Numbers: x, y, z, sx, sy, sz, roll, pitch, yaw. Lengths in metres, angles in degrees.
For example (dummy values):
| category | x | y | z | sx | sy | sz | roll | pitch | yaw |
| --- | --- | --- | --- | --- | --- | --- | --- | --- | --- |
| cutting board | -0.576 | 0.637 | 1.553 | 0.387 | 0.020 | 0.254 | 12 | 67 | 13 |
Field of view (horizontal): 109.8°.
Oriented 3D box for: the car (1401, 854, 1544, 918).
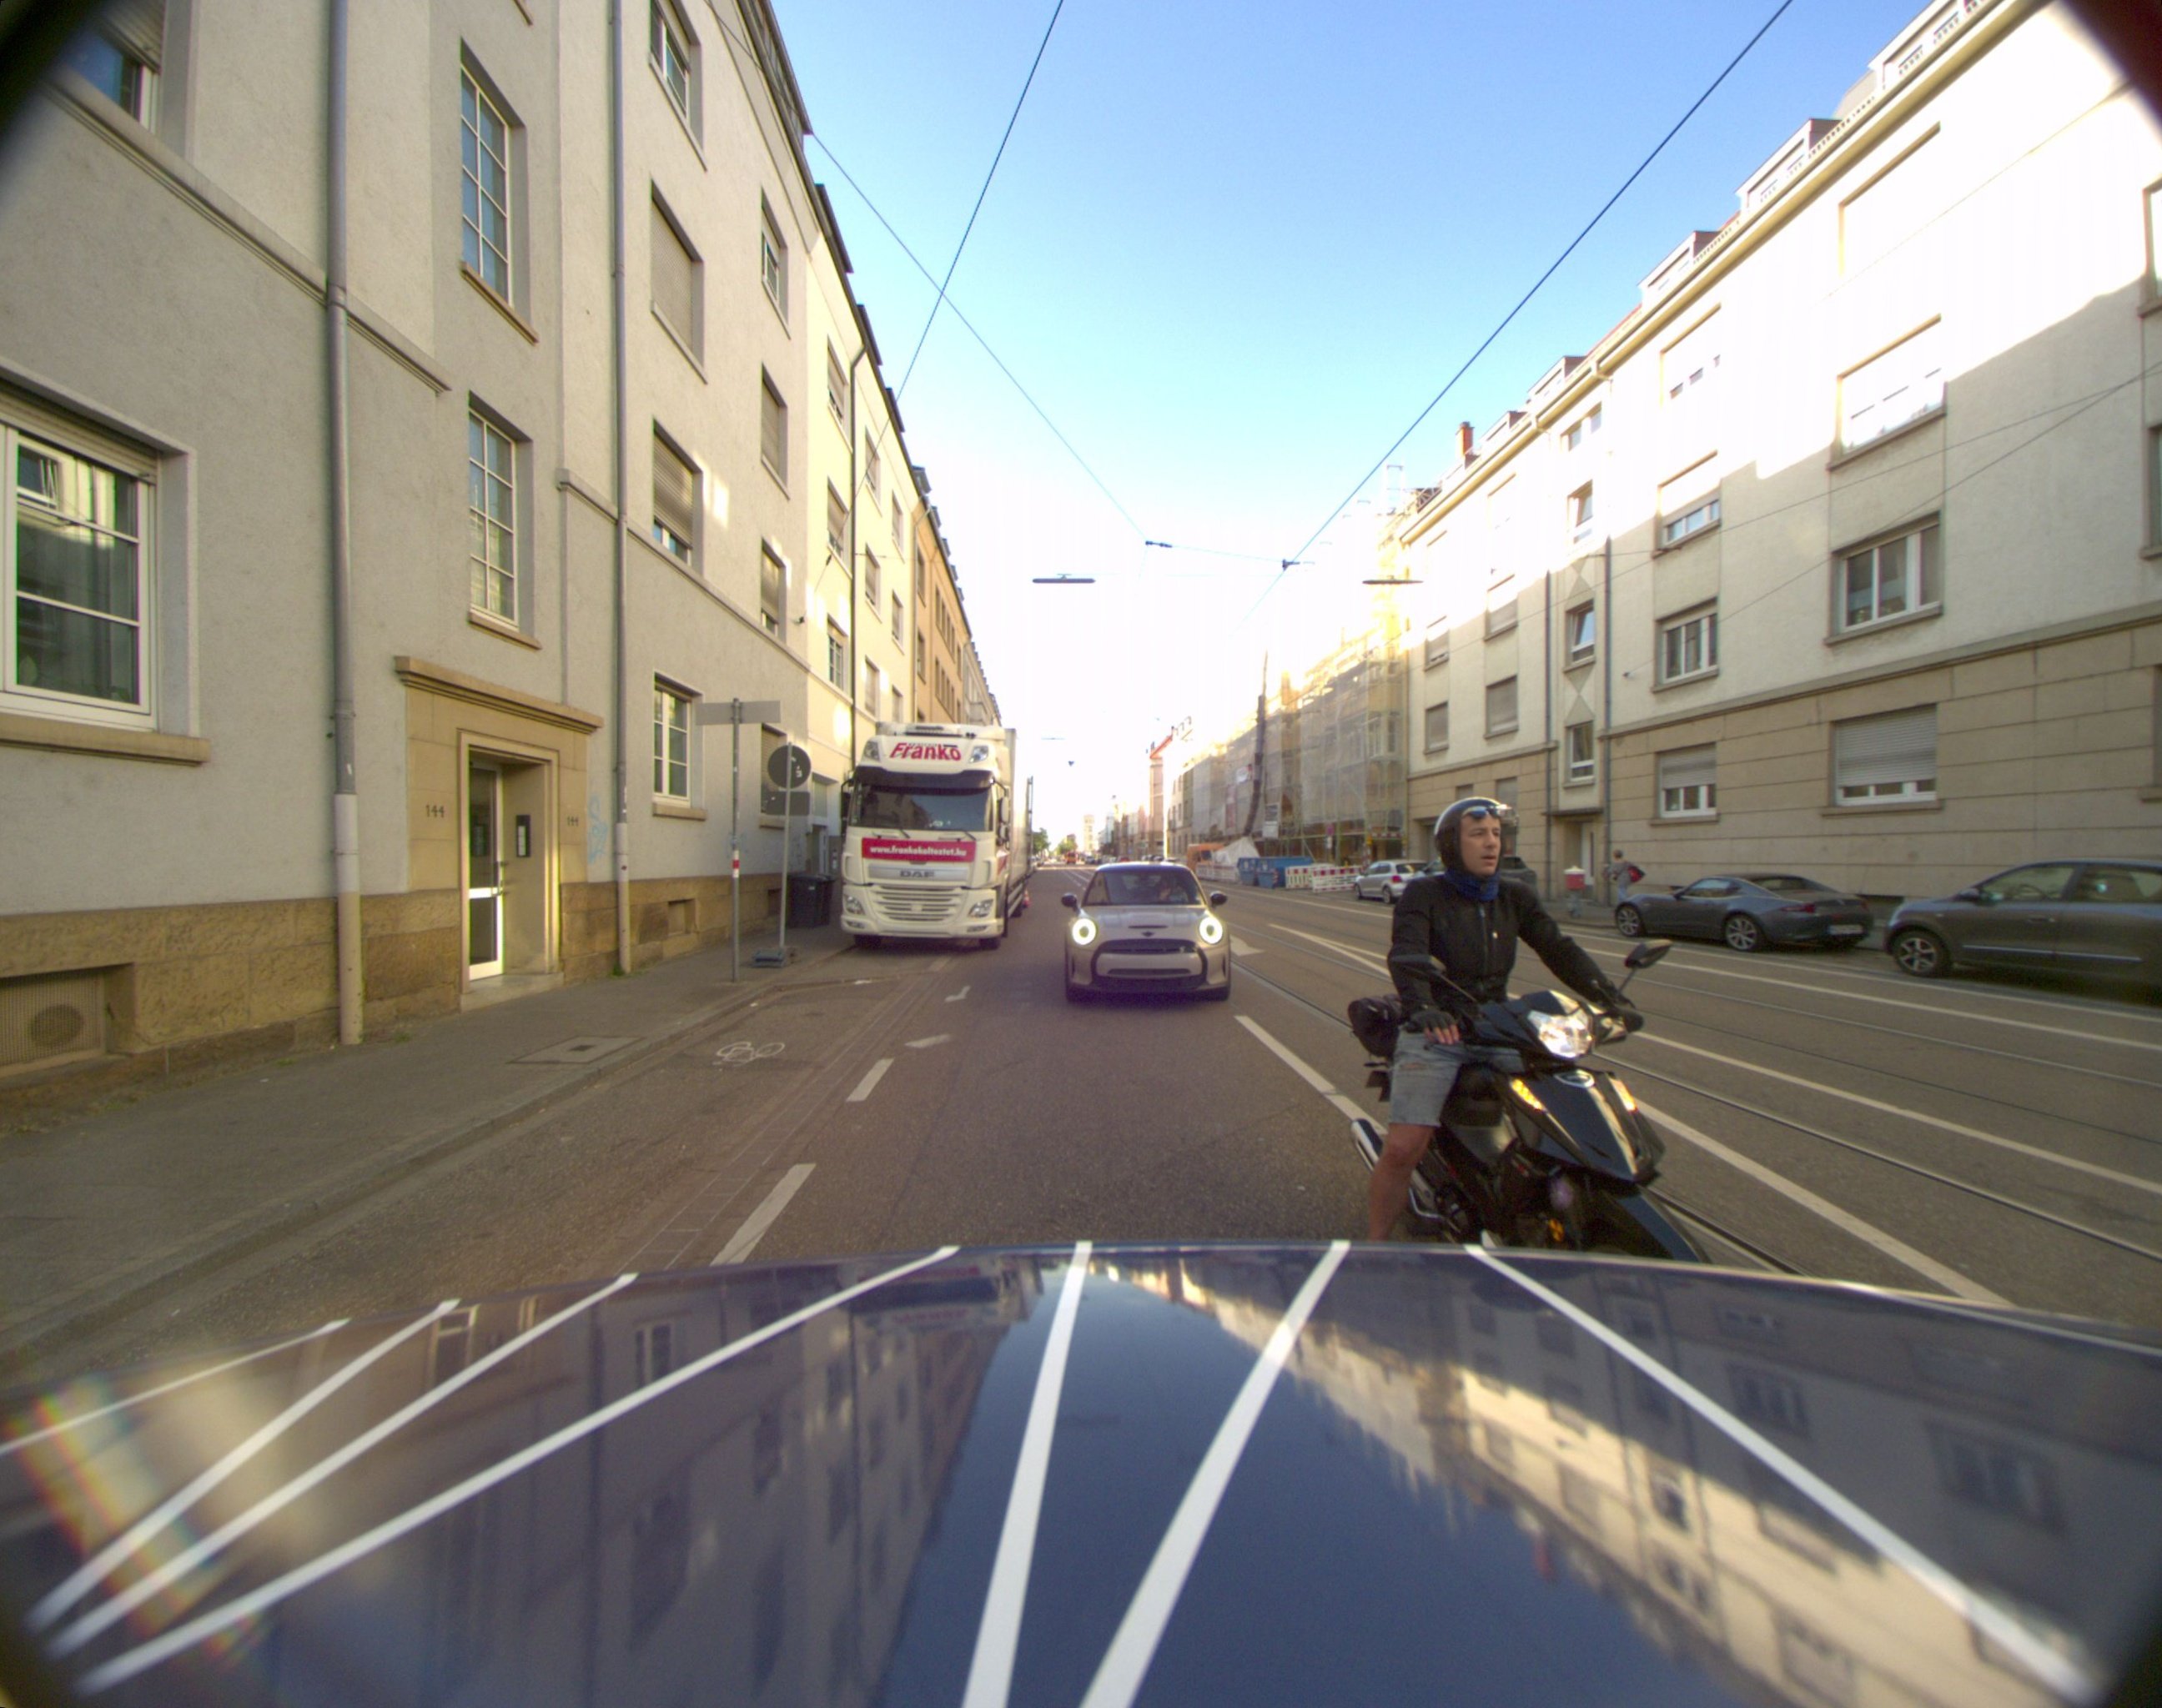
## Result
| category | x | y | z | sx | sy | sz | roll | pitch | yaw |
| --- | --- | --- | --- | --- | --- | --- | --- | --- | --- |
| car | 10.804 | 0.802 | 21.332 | 1.696 | 1.590 | 4.206 | -1 | 0 | -3 |

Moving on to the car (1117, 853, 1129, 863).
| category | x | y | z | sx | sy | sz | roll | pitch | yaw |
| --- | --- | --- | --- | --- | --- | --- | --- | --- | --- |
| car | 6.586 | 0.617 | 118.636 | 1.684 | 1.478 | 3.966 | -2 | 0 | 1 |

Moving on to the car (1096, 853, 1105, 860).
| category | x | y | z | sx | sy | sz | roll | pitch | yaw |
| --- | --- | --- | --- | --- | --- | --- | --- | --- | --- |
| car | 4.243 | 0.609 | 167.813 | 1.684 | 1.478 | 3.965 | -2 | 0 | -1 |

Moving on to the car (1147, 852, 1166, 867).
| category | x | y | z | sx | sy | sz | roll | pitch | yaw |
| --- | --- | --- | --- | --- | --- | --- | --- | --- | --- |
| car | 8.235 | 0.611 | 83.184 | 1.684 | 1.573 | 3.966 | -2 | 0 | 1 |

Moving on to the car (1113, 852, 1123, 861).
| category | x | y | z | sx | sy | sz | roll | pitch | yaw |
| --- | --- | --- | --- | --- | --- | --- | --- | --- | --- |
| car | 6.518 | 0.458 | 134.402 | 1.684 | 1.478 | 3.966 | -2 | 0 | 1 |

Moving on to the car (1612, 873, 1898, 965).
| category | x | y | z | sx | sy | sz | roll | pitch | yaw |
| --- | --- | --- | --- | --- | --- | --- | --- | --- | --- |
| car | 11.174 | 0.997 | 12.983 | 1.520 | 1.227 | 3.685 | -1 | 0 | -3 |

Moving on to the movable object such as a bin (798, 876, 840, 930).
| category | x | y | z | sx | sy | sz | roll | pitch | yaw |
| --- | --- | --- | --- | --- | --- | --- | --- | --- | --- |
| movable object such as a bin | -5.406 | 0.999 | 15.709 | 0.666 | 1.087 | 0.570 | 0 | 1 | -2 |

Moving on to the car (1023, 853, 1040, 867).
| category | x | y | z | sx | sy | sz | roll | pitch | yaw |
| --- | --- | --- | --- | --- | --- | --- | --- | --- | --- |
| car | -5.361 | 0.646 | 82.744 | 1.685 | 1.522 | 4.148 | -2 | 0 | -3 |

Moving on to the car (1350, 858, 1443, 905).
| category | x | y | z | sx | sy | sz | roll | pitch | yaw |
| --- | --- | --- | --- | --- | --- | --- | --- | --- | --- |
| car | 10.603 | 0.878 | 25.780 | 1.543 | 1.404 | 3.510 | -1 | 0 | -3 |

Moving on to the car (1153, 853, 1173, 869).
| category | x | y | z | sx | sy | sz | roll | pitch | yaw |
| --- | --- | --- | --- | --- | --- | --- | --- | --- | --- |
| car | 8.257 | 0.700 | 76.811 | 1.684 | 1.478 | 3.966 | -2 | 0 | 1 |

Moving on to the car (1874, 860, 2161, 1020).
| category | x | y | z | sx | sy | sz | roll | pitch | yaw |
| --- | --- | --- | --- | --- | --- | --- | --- | --- | --- |
| car | 11.411 | 0.857 | 8.321 | 1.679 | 1.519 | 3.539 | -1 | 0 | -3 |

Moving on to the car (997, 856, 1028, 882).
| category | x | y | z | sx | sy | sz | roll | pitch | yaw |
| --- | --- | --- | --- | --- | --- | --- | --- | --- | --- |
| car | -4.184 | 0.895 | 47.188 | 1.685 | 1.522 | 4.148 | -2 | 0 | -3 |

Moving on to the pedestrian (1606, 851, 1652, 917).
| category | x | y | z | sx | sy | sz | roll | pitch | yaw |
| --- | --- | --- | --- | --- | --- | --- | --- | --- | --- |
| pedestrian | 13.036 | 0.698 | 18.081 | 0.570 | 1.532 | 0.693 | 0 | 1 | -2 |

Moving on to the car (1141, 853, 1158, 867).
| category | x | y | z | sx | sy | sz | roll | pitch | yaw |
| --- | --- | --- | --- | --- | --- | --- | --- | --- | --- |
| car | 7.923 | 0.648 | 87.881 | 1.684 | 1.478 | 3.966 | -2 | 0 | 1 |

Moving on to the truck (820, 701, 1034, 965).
| category | x | y | z | sx | sy | sz | roll | pitch | yaw |
| --- | --- | --- | --- | --- | --- | --- | --- | --- | --- |
| truck | -2.632 | -0.321 | 17.181 | 2.782 | 3.903 | 11.816 | 0 | 0 | -2 |

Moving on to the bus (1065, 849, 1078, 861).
| category | x | y | z | sx | sy | sz | roll | pitch | yaw |
| --- | --- | --- | --- | --- | --- | --- | --- | --- | --- |
| bus | -2.763 | 0.311 | 214.894 | 2.755 | 3.095 | 19.156 | 0 | 0 | -3 |

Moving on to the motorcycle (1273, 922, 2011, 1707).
| category | x | y | z | sx | sy | sz | roll | pitch | yaw |
| --- | --- | --- | --- | --- | --- | --- | --- | --- | --- |
| motorcycle | 1.304 | 0.973 | 2.521 | 0.791 | 1.284 | 2.273 | 0 | 0 | 1 |

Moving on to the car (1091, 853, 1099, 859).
| category | x | y | z | sx | sy | sz | roll | pitch | yaw |
| --- | --- | --- | --- | --- | --- | --- | --- | --- | --- |
| car | 3.519 | 0.600 | 191.747 | 1.684 | 1.478 | 3.965 | -2 | 0 | -1 |

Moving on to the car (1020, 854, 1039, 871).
| category | x | y | z | sx | sy | sz | roll | pitch | yaw |
| --- | --- | --- | --- | --- | --- | --- | --- | --- | --- |
| car | -4.866 | 0.746 | 72.098 | 1.685 | 1.522 | 4.148 | -2 | 0 | -3 |

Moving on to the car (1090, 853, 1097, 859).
| category | x | y | z | sx | sy | sz | roll | pitch | yaw |
| --- | --- | --- | --- | --- | --- | --- | --- | --- | --- |
| car | 3.293 | 0.579 | 206.891 | 1.684 | 1.478 | 3.965 | -2 | 0 | -1 |

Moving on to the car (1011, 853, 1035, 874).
| category | x | y | z | sx | sy | sz | roll | pitch | yaw |
| --- | --- | --- | --- | --- | --- | --- | --- | --- | --- |
| car | -4.519 | 0.744 | 59.158 | 1.685 | 1.522 | 4.148 | -2 | 0 | -3 |

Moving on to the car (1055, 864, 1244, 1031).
| category | x | y | z | sx | sy | sz | roll | pitch | yaw |
| --- | --- | --- | --- | --- | --- | --- | --- | --- | --- |
| car | 0.573 | 0.893 | 9.146 | 1.685 | 1.454 | 4.148 | -2 | 0 | -3 |

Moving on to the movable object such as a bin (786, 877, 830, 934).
| category | x | y | z | sx | sy | sz | roll | pitch | yaw |
| --- | --- | --- | --- | --- | --- | --- | --- | --- | --- |
| movable object such as a bin | -5.389 | 1.007 | 15.040 | 0.666 | 1.087 | 0.570 | 0 | 1 | -2 |

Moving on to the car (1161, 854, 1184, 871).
| category | x | y | z | sx | sy | sz | roll | pitch | yaw |
| --- | --- | --- | --- | --- | --- | --- | --- | --- | --- |
| car | 8.562 | 0.756 | 71.114 | 1.684 | 1.478 | 3.966 | -2 | 0 | 1 |

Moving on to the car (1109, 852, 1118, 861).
| category | x | y | z | sx | sy | sz | roll | pitch | yaw |
| --- | --- | --- | --- | --- | --- | --- | --- | --- | --- |
| car | 5.944 | 0.437 | 139.345 | 1.684 | 1.478 | 3.966 | -2 | 0 | 1 |

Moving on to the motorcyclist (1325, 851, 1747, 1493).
| category | x | y | z | sx | sy | sz | roll | pitch | yaw |
| --- | --- | --- | --- | --- | --- | --- | --- | --- | --- |
| motorcyclist | 1.303 | 0.816 | 2.391 | 0.791 | 1.645 | 0.900 | 0 | 1 | 1 |

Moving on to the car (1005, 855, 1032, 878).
| category | x | y | z | sx | sy | sz | roll | pitch | yaw |
| --- | --- | --- | --- | --- | --- | --- | --- | --- | --- |
| car | -4.311 | 0.827 | 52.990 | 1.685 | 1.522 | 4.148 | -2 | 0 | -3 |
